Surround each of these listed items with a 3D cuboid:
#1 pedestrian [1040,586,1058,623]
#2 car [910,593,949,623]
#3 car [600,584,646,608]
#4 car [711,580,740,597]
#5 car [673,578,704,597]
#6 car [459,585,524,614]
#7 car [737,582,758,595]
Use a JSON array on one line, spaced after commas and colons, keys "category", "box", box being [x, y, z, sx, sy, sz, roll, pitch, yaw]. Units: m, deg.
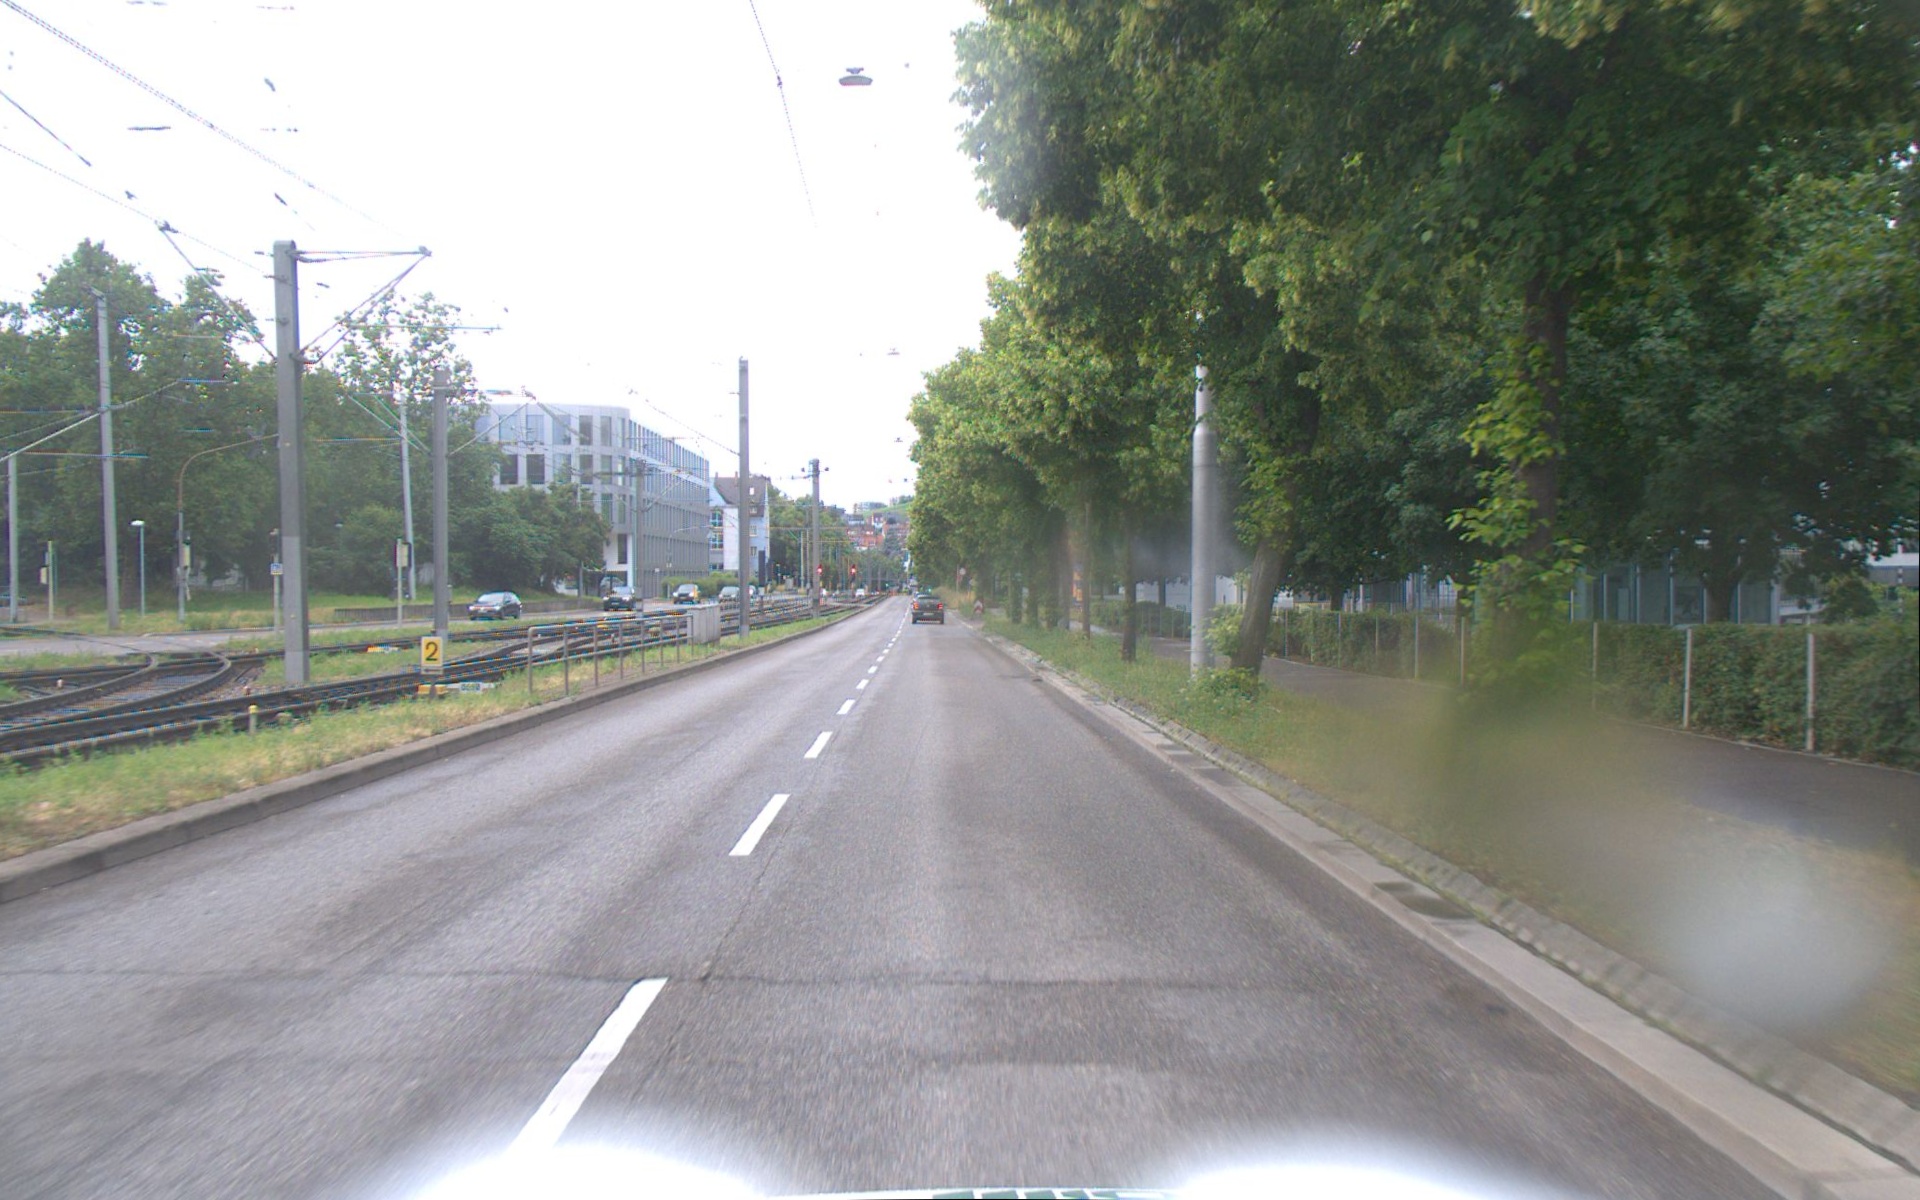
[{"category": "pedestrian", "box": [4.564, 0.227, 84.925, 0.809, 1.828, 0.867, 1, 0, -1]}, {"category": "car", "box": [-1.580, 0.399, 85.117, 1.942, 1.466, 4.473, 0, 1, -1]}, {"category": "car", "box": [-23.853, -0.312, 117.229, 2.046, 1.616, 5.159, 0, 1, 1]}, {"category": "car", "box": [-21.197, -1.061, 149.636, 1.852, 1.512, 4.309, 0, 1, 1]}, {"category": "car", "box": [-23.469, -1.060, 143.286, 1.908, 1.623, 4.847, 0, 1, 0]}, {"category": "car", "box": [-25.031, -0.027, 88.546, 1.886, 1.472, 4.685, 0, 1, 4]}, {"category": "car", "box": [-23.632, -1.300, 183.874, 1.724, 1.422, 3.901, 0, 1, 1]}]
